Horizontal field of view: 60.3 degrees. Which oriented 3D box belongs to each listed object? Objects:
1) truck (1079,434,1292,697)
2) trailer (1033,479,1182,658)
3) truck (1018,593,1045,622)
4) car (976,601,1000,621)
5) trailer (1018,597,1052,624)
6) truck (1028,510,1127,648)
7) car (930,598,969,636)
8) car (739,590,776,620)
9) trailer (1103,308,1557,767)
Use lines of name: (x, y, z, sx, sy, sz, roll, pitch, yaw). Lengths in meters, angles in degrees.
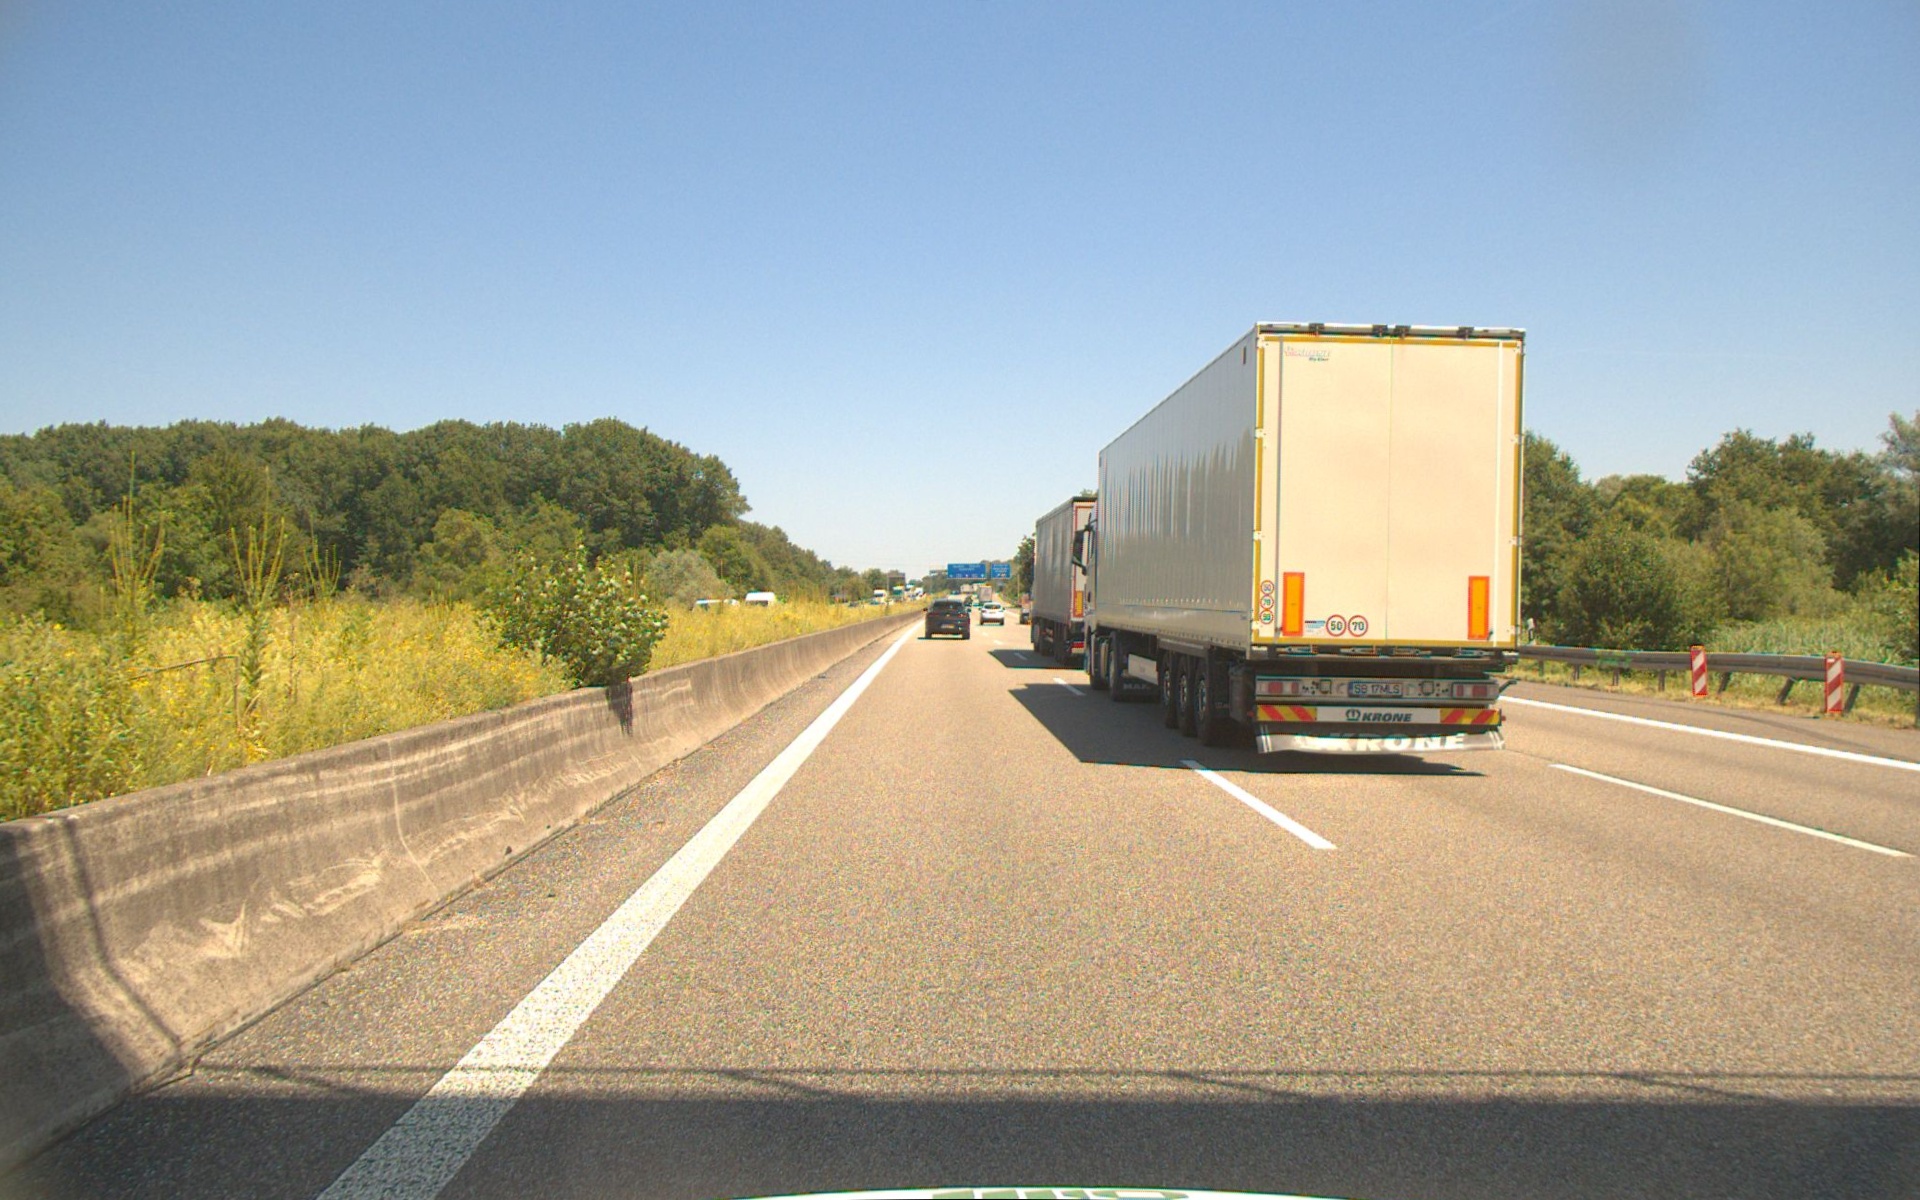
truck: (3.722, -0.533, 28.699, 2.743, 4.077, 6.019, 0, 0, -1)
trailer: (3.745, -0.663, 45.802, 2.652, 4.139, 14.743, 1, -1, -1)
truck: (6.014, 0.620, 139.563, 1.953, 2.415, 4.643, 0, 0, -1)
car: (2.137, 0.814, 126.066, 1.704, 1.512, 4.000, 0, 0, 0)
trailer: (6.052, 0.834, 134.179, 2.371, 2.049, 6.032, 0, 0, -1)
truck: (3.682, -0.604, 53.290, 2.645, 4.166, 6.452, 1, -1, -1)
car: (-0.496, 0.744, 72.653, 1.626, 1.576, 3.782, 1, 0, -2)
car: (-14.932, 0.339, 122.227, 1.953, 2.049, 6.555, 2, 0, -1)
trailer: (3.878, -0.558, 21.145, 2.738, 4.106, 12.564, 0, 0, -1)
